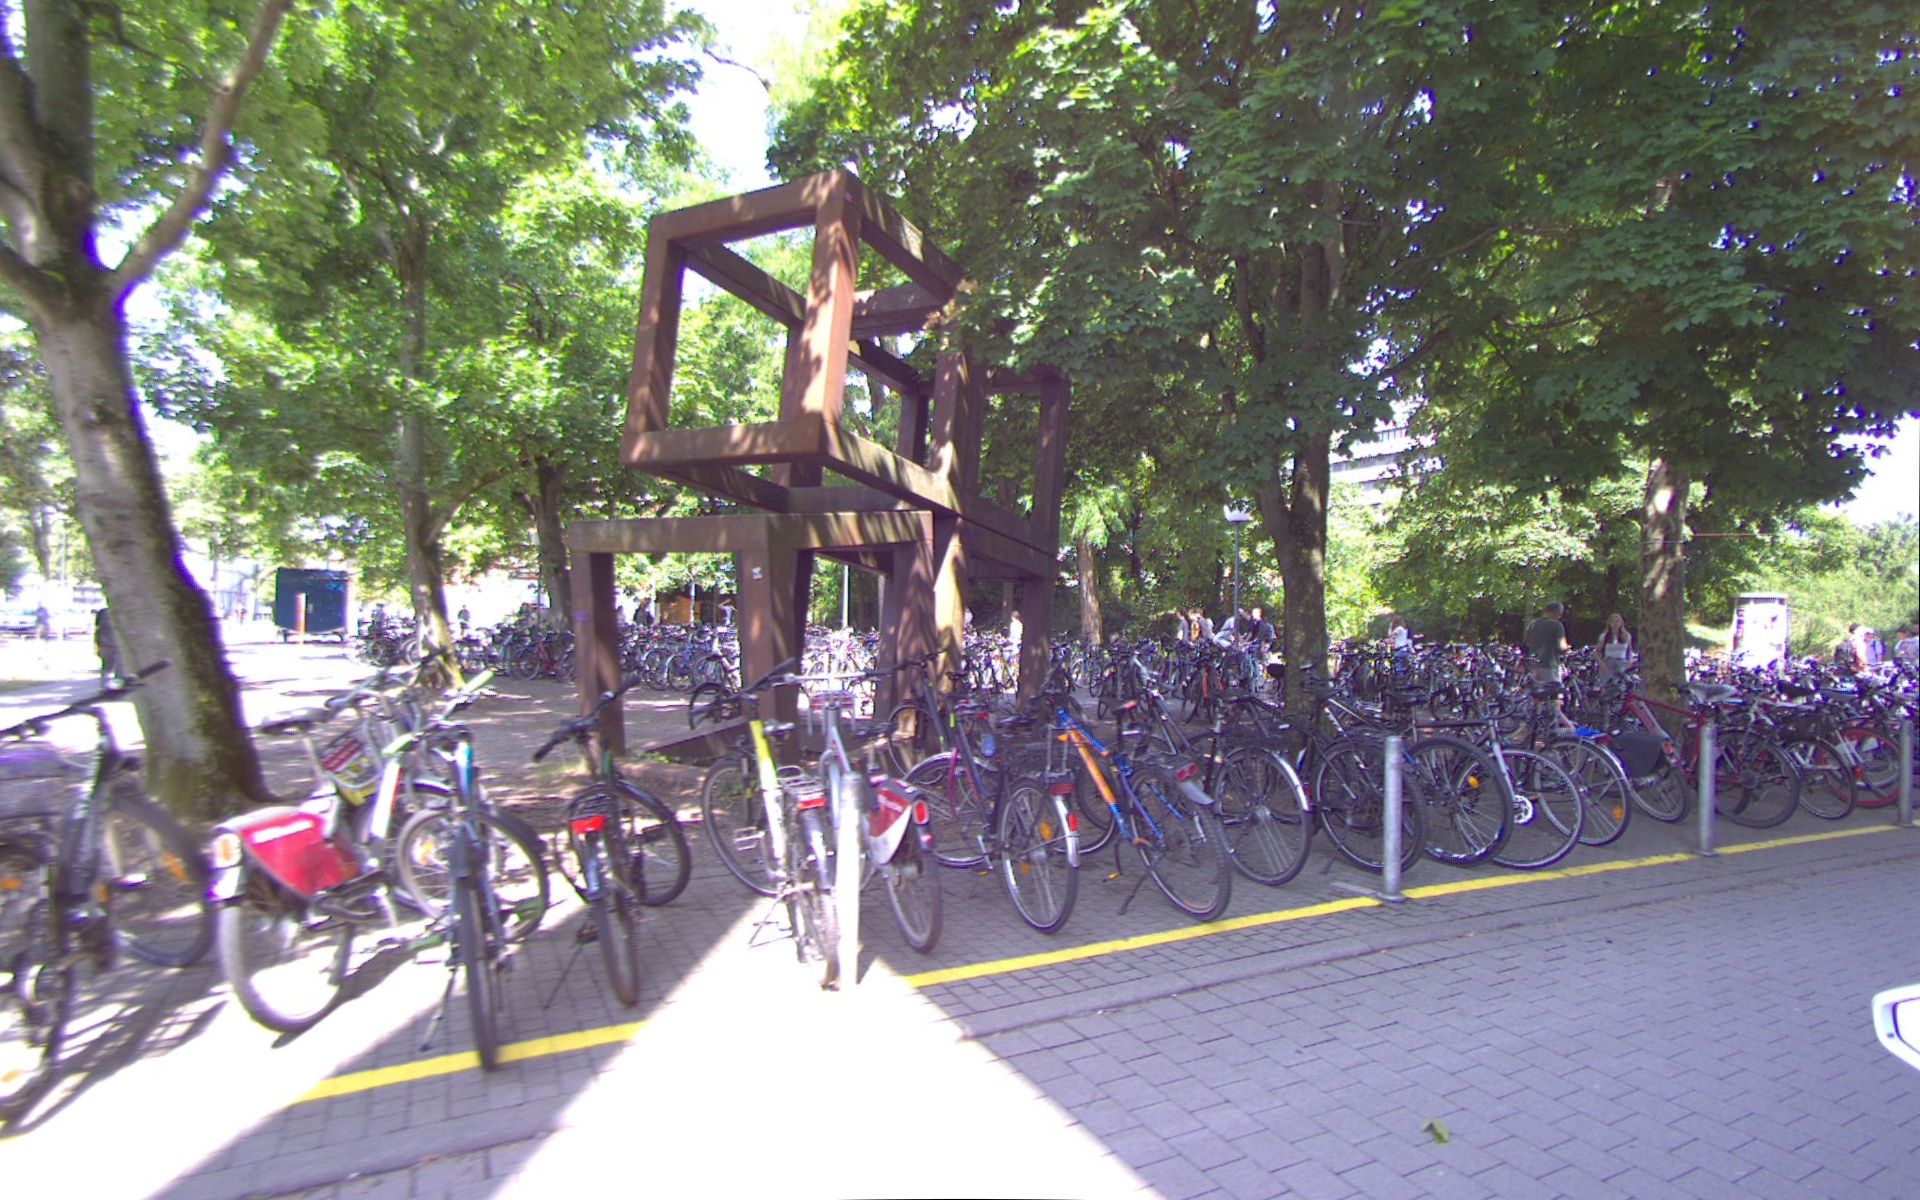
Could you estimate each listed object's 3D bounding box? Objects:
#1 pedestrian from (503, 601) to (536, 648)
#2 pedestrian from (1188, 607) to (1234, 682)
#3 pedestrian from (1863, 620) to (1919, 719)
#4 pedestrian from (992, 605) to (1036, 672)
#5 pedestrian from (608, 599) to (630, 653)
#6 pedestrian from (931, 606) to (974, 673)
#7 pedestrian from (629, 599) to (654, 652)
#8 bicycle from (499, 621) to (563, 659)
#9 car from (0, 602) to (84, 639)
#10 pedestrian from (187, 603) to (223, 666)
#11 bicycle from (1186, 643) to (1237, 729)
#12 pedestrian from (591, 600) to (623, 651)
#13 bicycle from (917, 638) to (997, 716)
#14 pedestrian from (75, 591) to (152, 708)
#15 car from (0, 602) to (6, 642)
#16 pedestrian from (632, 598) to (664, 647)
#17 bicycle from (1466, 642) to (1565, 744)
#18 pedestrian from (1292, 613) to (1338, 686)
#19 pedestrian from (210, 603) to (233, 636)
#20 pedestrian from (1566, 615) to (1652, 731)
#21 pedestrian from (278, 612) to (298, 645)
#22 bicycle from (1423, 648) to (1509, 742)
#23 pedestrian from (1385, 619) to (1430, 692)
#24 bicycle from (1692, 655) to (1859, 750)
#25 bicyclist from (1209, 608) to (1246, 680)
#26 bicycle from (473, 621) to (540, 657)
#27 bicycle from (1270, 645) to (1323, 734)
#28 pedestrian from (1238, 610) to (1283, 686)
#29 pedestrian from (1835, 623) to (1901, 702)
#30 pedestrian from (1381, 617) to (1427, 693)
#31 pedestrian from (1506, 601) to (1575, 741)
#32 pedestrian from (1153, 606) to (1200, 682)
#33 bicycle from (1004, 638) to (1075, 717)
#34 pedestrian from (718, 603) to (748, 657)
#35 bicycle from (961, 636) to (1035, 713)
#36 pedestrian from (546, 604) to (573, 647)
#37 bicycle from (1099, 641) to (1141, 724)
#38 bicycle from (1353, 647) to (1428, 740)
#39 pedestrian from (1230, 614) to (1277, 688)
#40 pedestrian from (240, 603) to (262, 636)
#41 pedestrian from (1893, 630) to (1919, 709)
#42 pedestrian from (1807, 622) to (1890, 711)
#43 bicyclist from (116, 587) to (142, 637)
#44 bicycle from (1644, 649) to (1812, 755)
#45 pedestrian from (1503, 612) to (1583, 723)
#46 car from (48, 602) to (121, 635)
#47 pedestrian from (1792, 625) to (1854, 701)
[{"bbox_3d":[-17.142,0.945,39.051,0.775,1.798,0.914,1,0,44],"label":"pedestrian"},{"bbox_3d":[6.226,1.094,24.880,0.890,1.798,0.769,2,0,29],"label":"pedestrian"},{"bbox_3d":[18.176,1.322,19.348,0.922,1.859,0.687,1,-1,6],"label":"pedestrian"},{"bbox_3d":[1.497,1.058,27.736,0.893,1.798,0.766,1,0,40],"label":"pedestrian"},{"bbox_3d":[-11.540,0.884,33.979,0.498,1.795,0.664,2,0,-37],"label":"pedestrian"},{"bbox_3d":[-0.209,1.086,27.924,0.893,1.798,0.766,1,0,39],"label":"pedestrian"},{"bbox_3d":[-10.947,0.870,34.505,0.604,1.798,0.652,2,0,-38],"label":"pedestrian"},{"bbox_3d":[-13.189,1.229,30.916,0.466,1.098,1.855,2,-1,30],"label":"bicycle"},{"bbox_3d":[-41.287,0.932,45.274,1.816,1.561,4.503,1,-1,-29],"label":"car"},{"bbox_3d":[-19.095,0.865,25.415,0.563,1.540,0.835,2,0,-27],"label":"pedestrian"},{"bbox_3d":[3.651,1.216,14.675,0.618,1.123,1.701,2,-1,12],"label":"bicycle"},{"bbox_3d":[-12.789,0.928,36.385,0.895,1.798,0.765,1,0,45],"label":"pedestrian"},{"bbox_3d":[-0.015,1.172,15.832,0.493,1.123,1.906,2,-1,24],"label":"bicycle"},{"bbox_3d":[-12.738,0.729,15.141,0.720,1.706,0.867,1,-1,-31],"label":"pedestrian"},{"bbox_3d":[-37.660,0.839,37.533,1.816,1.561,4.503,1,-1,-29],"label":"car"},{"bbox_3d":[-11.712,0.843,37.696,0.895,1.798,0.765,1,0,45],"label":"pedestrian"},{"bbox_3d":[7.384,1.197,13.434,0.564,1.215,1.701,2,-1,8],"label":"bicycle"},{"bbox_3d":[8.508,1.170,24.039,0.890,1.702,0.769,2,0,29],"label":"pedestrian"},{"bbox_3d":[-41.265,1.108,56.122,0.893,1.798,0.766,1,0,39],"label":"pedestrian"},{"bbox_3d":[10.035,1.100,15.565,0.754,1.725,0.907,2,0,5],"label":"pedestrian"},{"bbox_3d":[-31.751,1.341,47.465,0.614,1.540,0.731,2,0,-25],"label":"pedestrian"},{"bbox_3d":[6.787,1.243,13.556,0.492,1.123,1.701,2,-1,8],"label":"bicycle"},{"bbox_3d":[10.728,1.312,24.095,0.890,1.702,0.769,2,0,29],"label":"pedestrian"},{"bbox_3d":[11.096,1.362,13.717,0.498,1.123,1.680,2,-1,-38],"label":"bicycle"},{"bbox_3d":[6.122,0.991,22.995,0.707,1.589,0.595,2,0,22],"label":"bicyclist"},{"bbox_3d":[-14.184,1.228,31.451,0.468,1.098,1.847,2,-1,45],"label":"bicycle"},{"bbox_3d":[4.742,1.227,14.238,0.492,1.123,1.701,2,-1,12],"label":"bicycle"},{"bbox_3d":[7.413,1.163,24.775,0.890,1.798,0.769,2,0,29],"label":"pedestrian"},{"bbox_3d":[21.678,1.477,23.994,0.869,1.839,0.831,2,0,-21],"label":"pedestrian"},{"bbox_3d":[10.328,1.264,23.357,0.890,1.702,0.769,2,0,29],"label":"pedestrian"},{"bbox_3d":[7.923,0.942,13.733,0.756,1.831,0.708,2,0,29],"label":"pedestrian"},{"bbox_3d":[5.286,1.067,24.513,0.890,1.798,0.769,2,0,29],"label":"pedestrian"},{"bbox_3d":[1.260,1.160,15.566,0.493,1.123,1.779,2,-1,24],"label":"bicycle"},{"bbox_3d":[-7.753,1.015,34.315,0.760,1.798,0.901,2,0,-27],"label":"pedestrian"},{"bbox_3d":[0.625,1.145,15.887,0.493,1.123,1.779,2,-1,24],"label":"bicycle"},{"bbox_3d":[-17.278,1.086,43.341,0.895,1.826,0.765,1,0,45],"label":"pedestrian"},{"bbox_3d":[2.410,1.199,15.053,0.492,1.123,1.701,2,-1,12],"label":"bicycle"},{"bbox_3d":[5.889,1.246,13.809,0.492,1.123,1.701,2,-1,8],"label":"bicycle"},{"bbox_3d":[7.018,1.199,23.984,0.890,1.702,0.769,2,0,29],"label":"pedestrian"},{"bbox_3d":[-40.416,1.113,57.285,0.893,1.798,0.766,1,0,39],"label":"pedestrian"},{"bbox_3d":[21.432,1.549,22.428,0.673,1.747,0.731,0,-1,26],"label":"pedestrian"},{"bbox_3d":[18.043,1.338,20.412,1.043,1.747,0.719,1,-1,5],"label":"pedestrian"},{"bbox_3d":[-32.071,0.469,38.773,0.663,1.900,0.820,1,-1,-33],"label":"bicyclist"},{"bbox_3d":[10.132,1.310,13.310,0.498,1.236,1.680,2,-1,-38],"label":"bicycle"},{"bbox_3d":[9.473,1.080,16.322,0.897,1.725,0.763,2,0,-32],"label":"pedestrian"},{"bbox_3d":[-43.858,0.943,50.415,1.816,1.561,4.503,1,-1,-29],"label":"car"},{"bbox_3d":[21.317,1.553,24.823,0.969,1.828,0.766,2,0,-20],"label":"pedestrian"}]
